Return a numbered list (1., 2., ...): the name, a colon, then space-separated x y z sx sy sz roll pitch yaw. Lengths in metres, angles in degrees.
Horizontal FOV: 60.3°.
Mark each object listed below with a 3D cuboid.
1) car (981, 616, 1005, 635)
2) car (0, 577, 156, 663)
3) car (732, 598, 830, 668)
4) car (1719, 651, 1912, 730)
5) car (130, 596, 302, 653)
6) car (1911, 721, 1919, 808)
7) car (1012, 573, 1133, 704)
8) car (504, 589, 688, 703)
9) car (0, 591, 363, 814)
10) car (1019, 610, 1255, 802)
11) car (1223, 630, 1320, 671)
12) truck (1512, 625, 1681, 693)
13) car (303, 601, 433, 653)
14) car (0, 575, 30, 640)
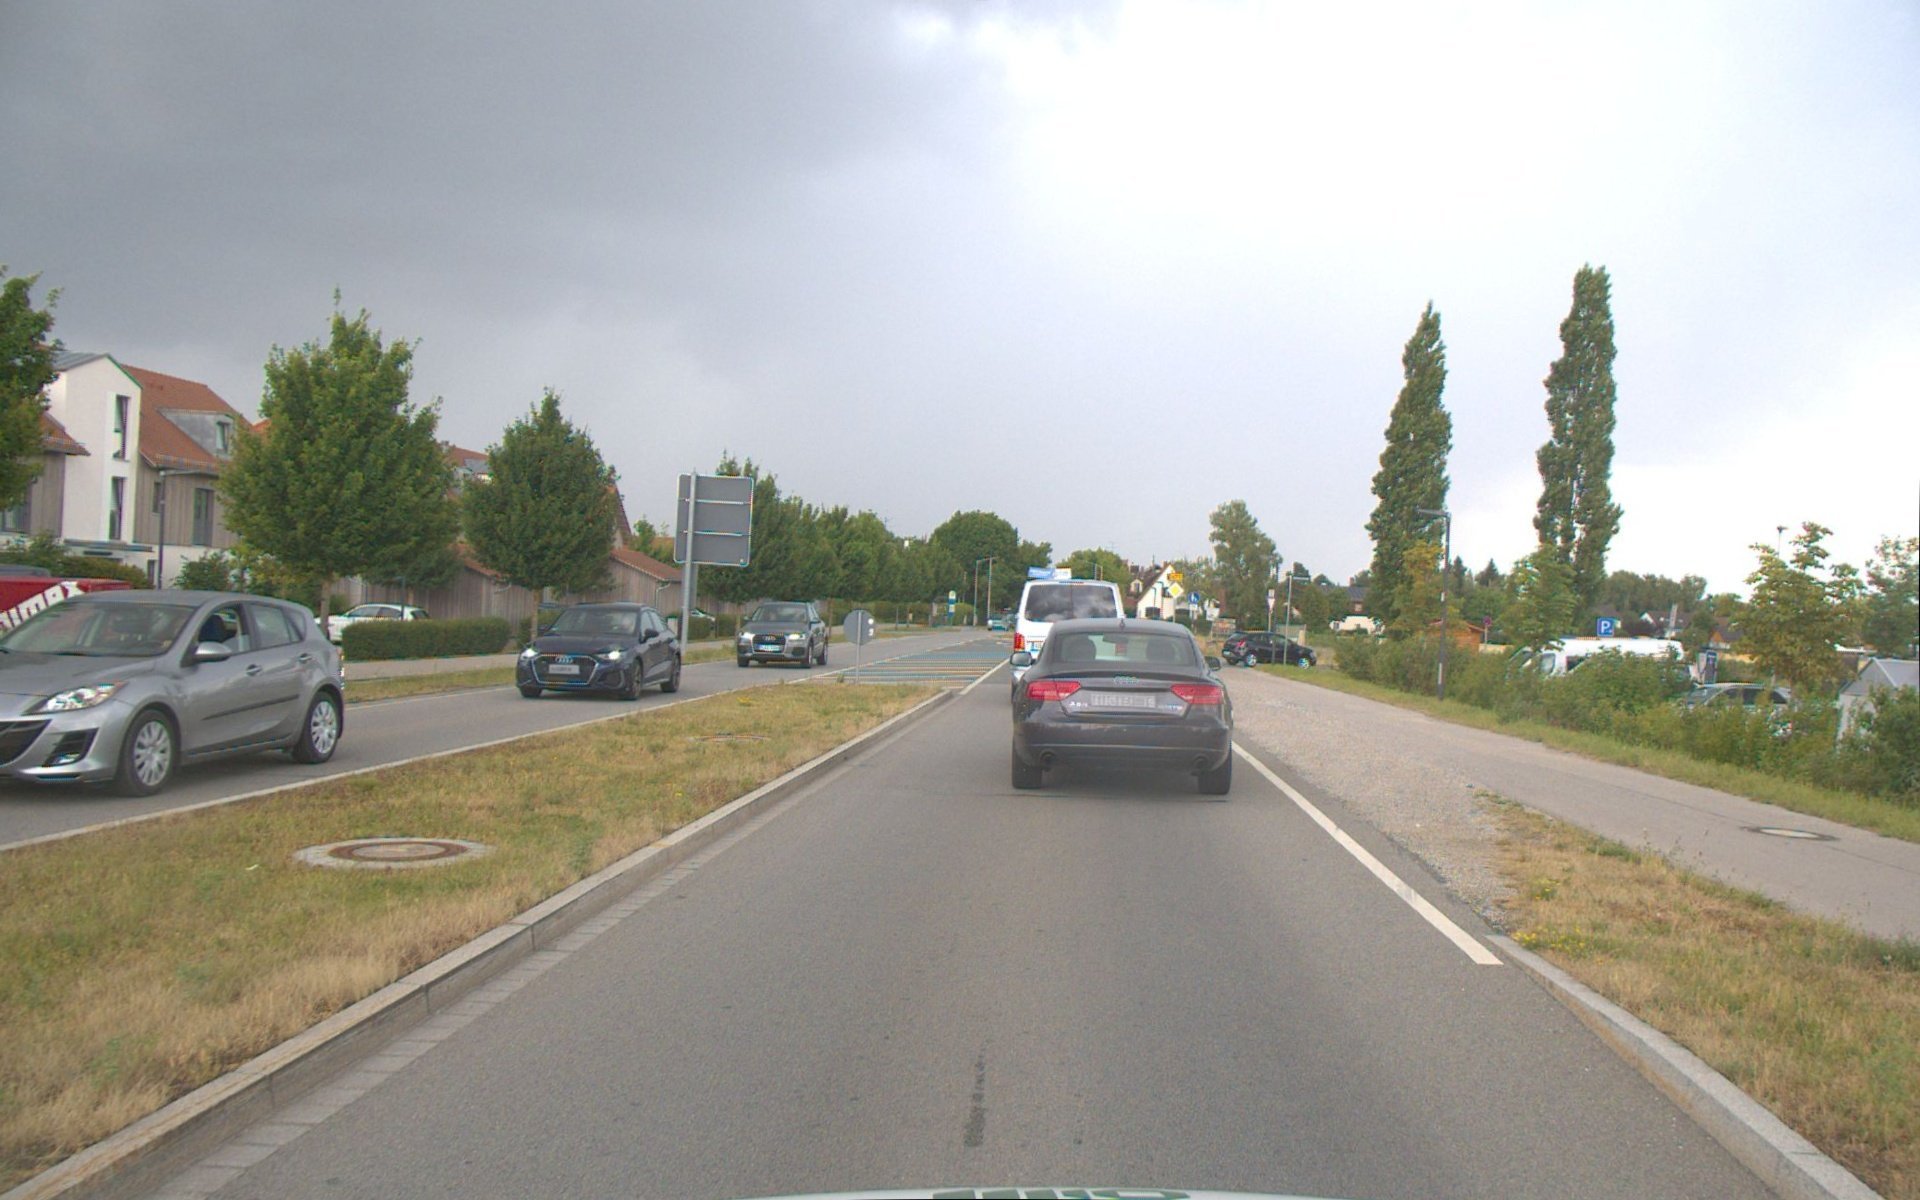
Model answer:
1. car: 2.898 2.293 146.831 1.953 1.534 3.999 3 -1 -1
2. car: -20.716 0.389 36.981 4.435 1.709 2.001 3 -1 7
3. car: -4.393 0.818 41.124 1.828 1.601 4.001 1 -1 2
4. car: 21.641 2.270 41.967 3.839 1.713 1.927 3 -1 2
5. car: -20.425 0.670 45.519 3.834 1.338 1.843 3 0 1
6. car: 18.471 2.921 27.481 4.144 1.465 2.001 3 -1 4
7. car: 1.764 0.608 27.039 1.828 1.968 4.001 0 -1 2
8. car: -5.619 0.696 26.029 1.828 1.601 4.001 1 -1 2
9. car: -6.411 0.686 12.898 1.694 1.434 4.207 2 -1 4
10. car: 1.412 0.837 14.607 1.747 1.416 4.133 1 -1 2
11. car: 12.297 1.985 65.424 3.435 1.396 1.441 4 -1 -8
12. truck: 20.778 1.909 54.152 4.699 1.905 2.000 3 -1 -1
13. car: -19.693 0.902 55.094 3.653 1.508 1.686 3 0 0
14. car: -27.698 0.142 44.807 1.951 1.803 4.468 3 -1 9
